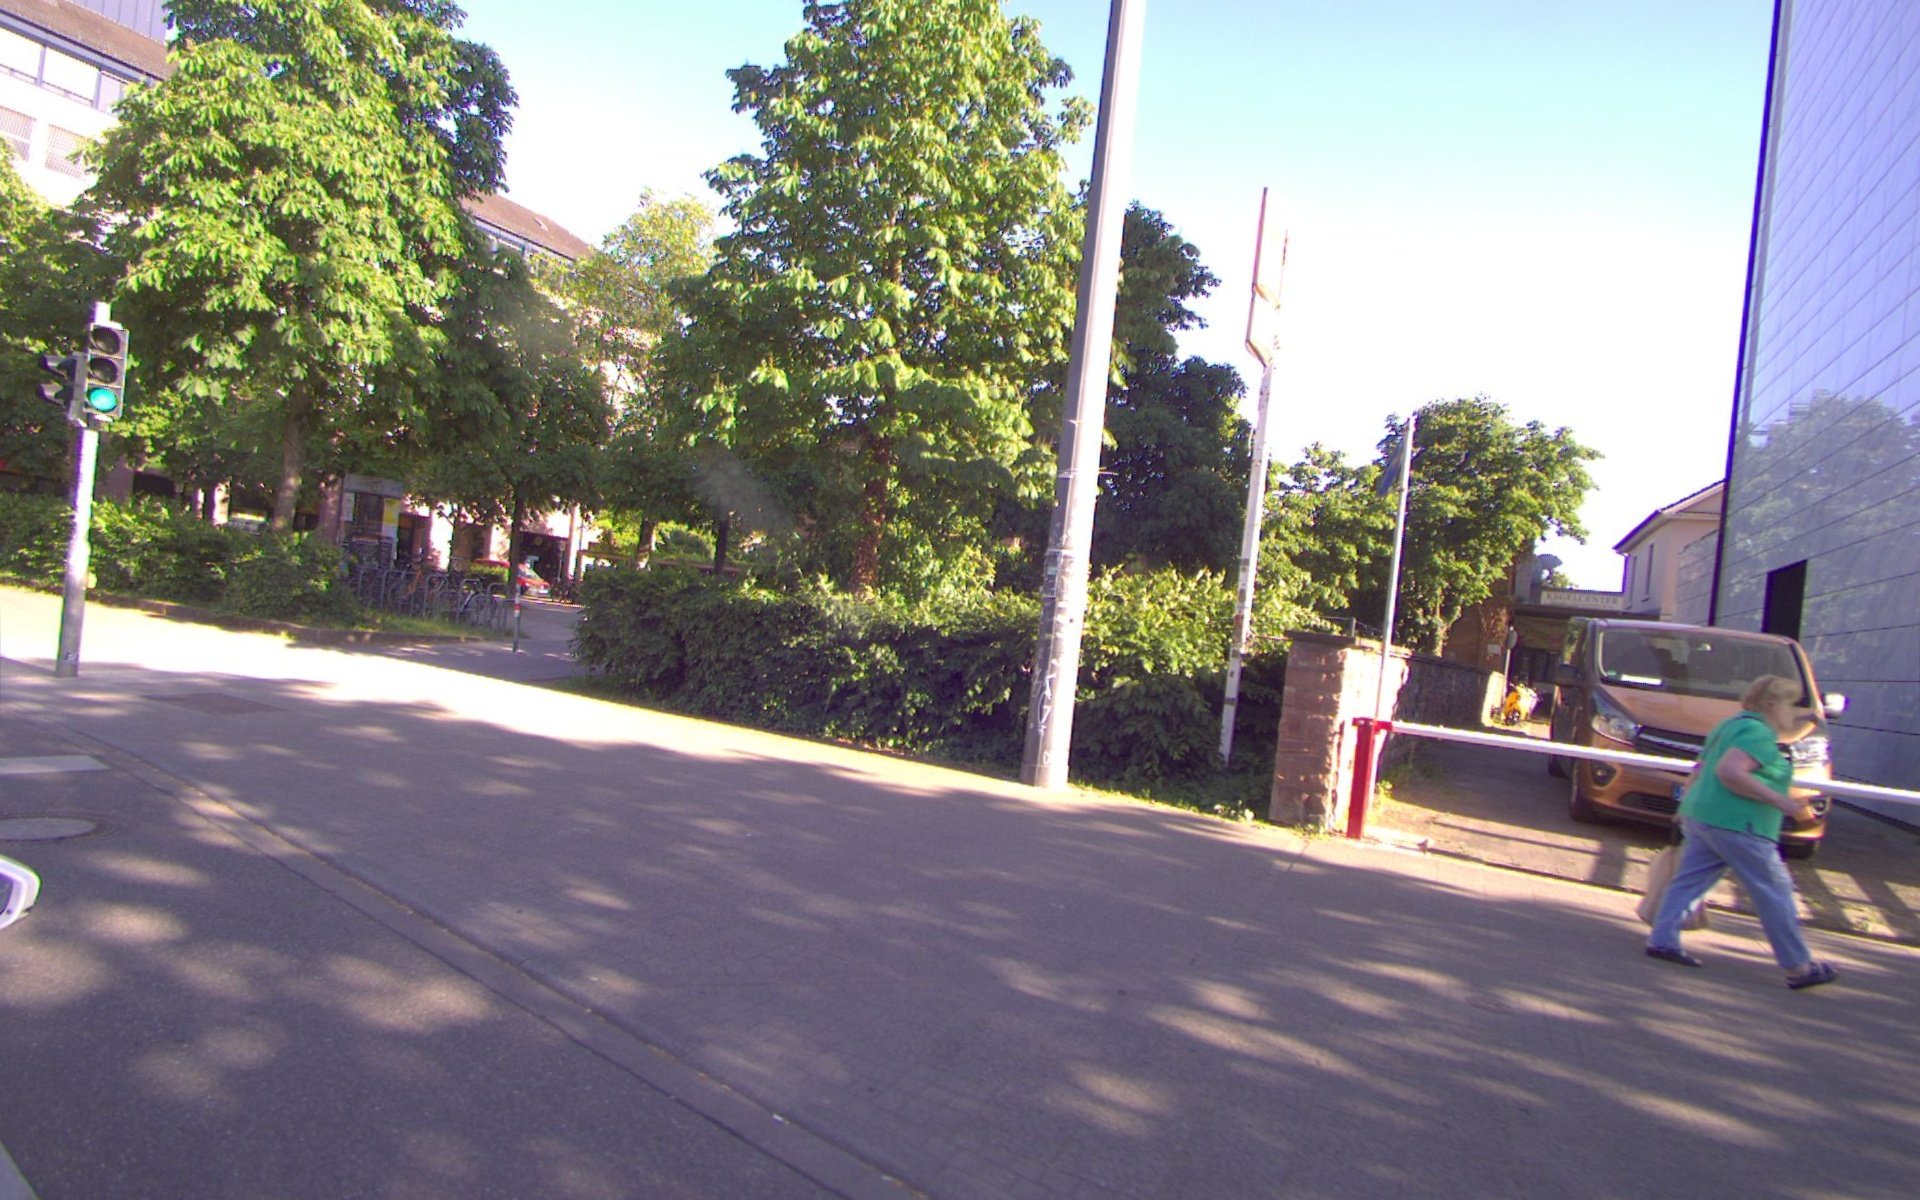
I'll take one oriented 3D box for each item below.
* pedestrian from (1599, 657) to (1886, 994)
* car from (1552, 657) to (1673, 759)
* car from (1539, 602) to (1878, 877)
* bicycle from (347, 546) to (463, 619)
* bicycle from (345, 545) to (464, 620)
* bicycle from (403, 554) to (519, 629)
[{"bbox_3d":[4.120,1.155,5.350,0.818,1.595,0.737,5,1,-11],"label":"pedestrian"},{"bbox_3d":[13.151,2.111,20.459,1.567,1.692,3.617,6,0,27],"label":"car"},{"bbox_3d":[7.383,1.163,10.522,1.880,2.011,4.902,6,1,27],"label":"car"},{"bbox_3d":[-11.344,-0.325,20.637,0.564,1.331,1.998,6,1,30],"label":"bicycle"},{"bbox_3d":[-11.008,-0.327,20.000,0.564,1.331,1.998,6,1,30],"label":"bicycle"},{"bbox_3d":[-9.782,-0.144,19.801,0.564,1.331,1.998,6,1,30],"label":"bicycle"}]
